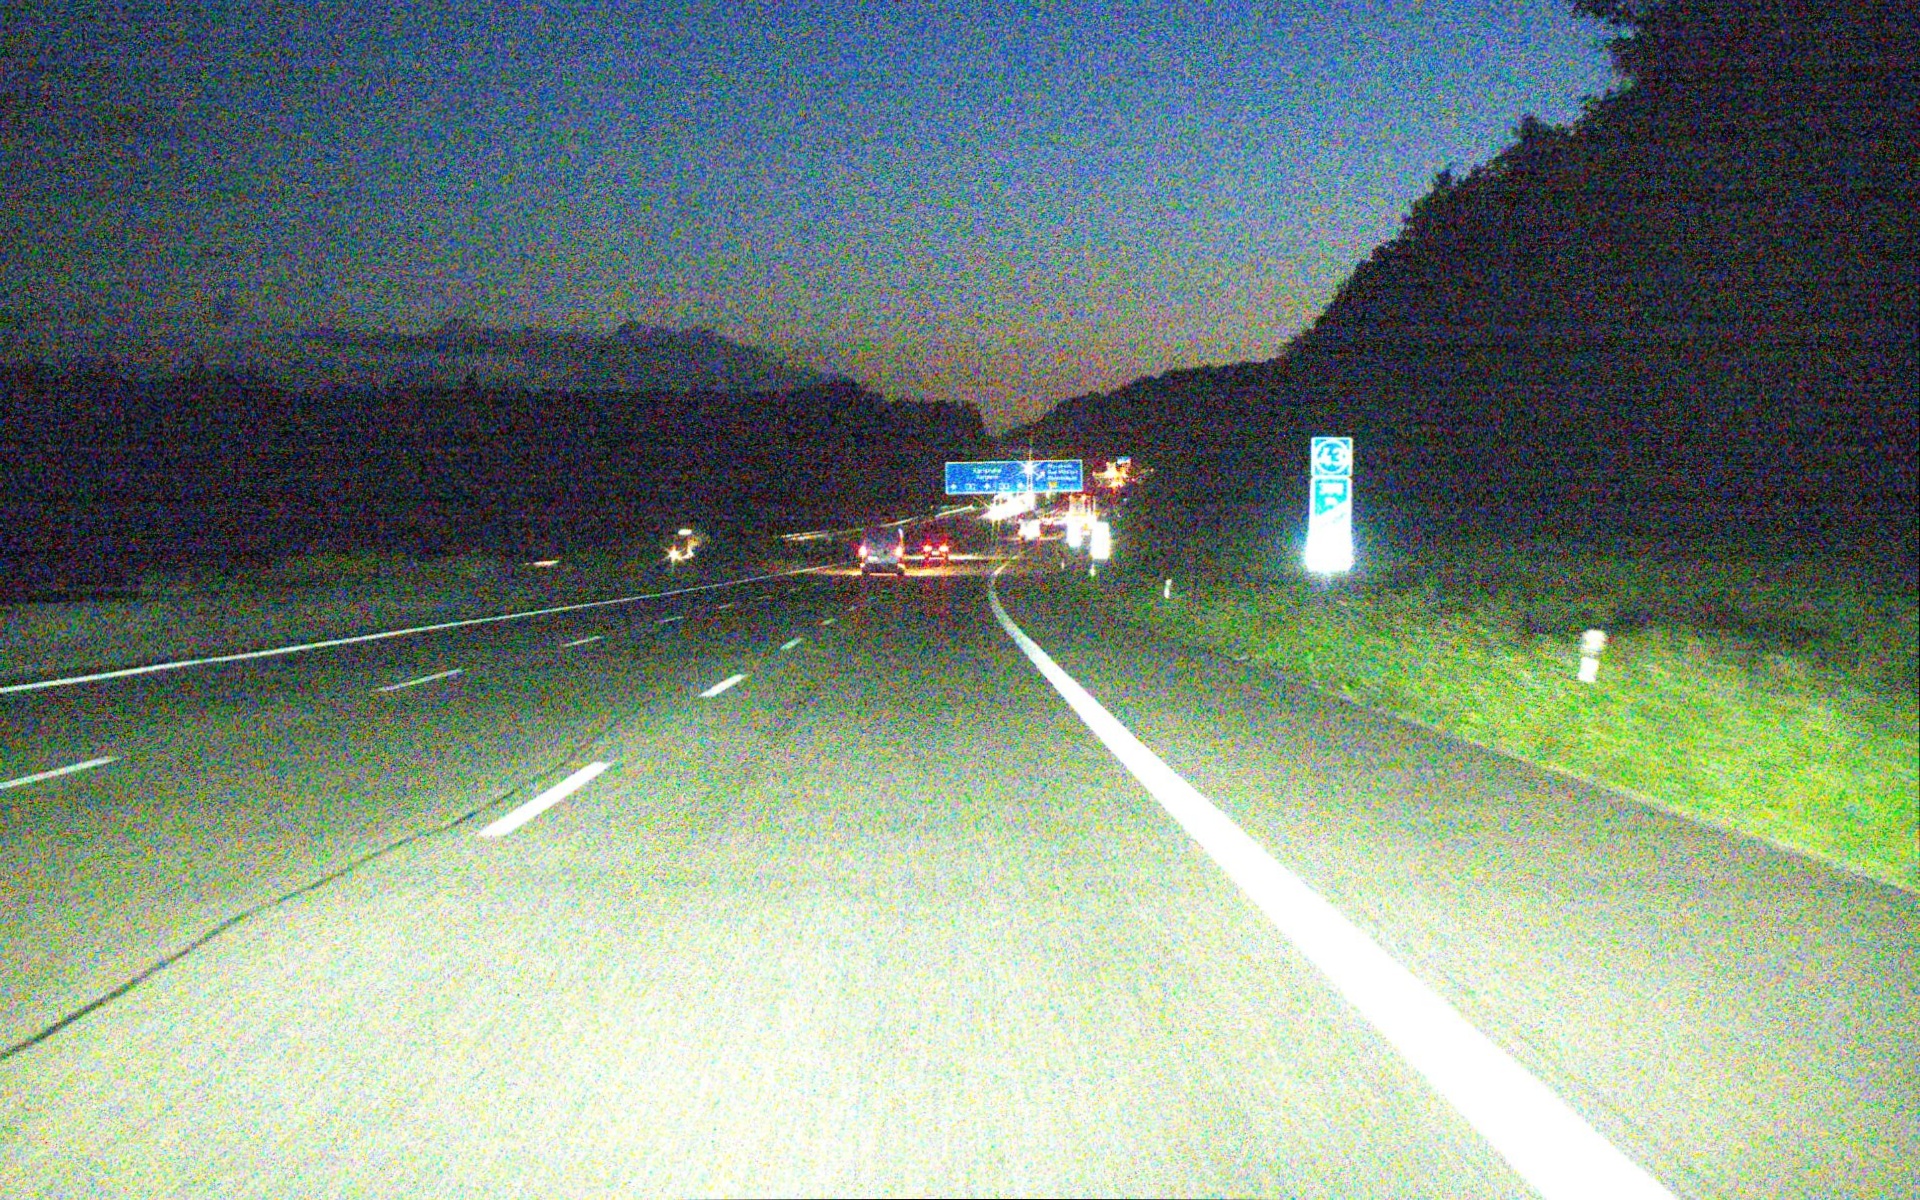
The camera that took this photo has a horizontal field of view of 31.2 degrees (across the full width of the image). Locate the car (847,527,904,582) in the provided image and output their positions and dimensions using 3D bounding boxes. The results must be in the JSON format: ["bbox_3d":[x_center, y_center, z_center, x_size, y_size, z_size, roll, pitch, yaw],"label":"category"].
[{"bbox_3d":[-4.278,-2.303,174.481,2.786,2.724,6.299,0,1,-1],"label":"car"}]
